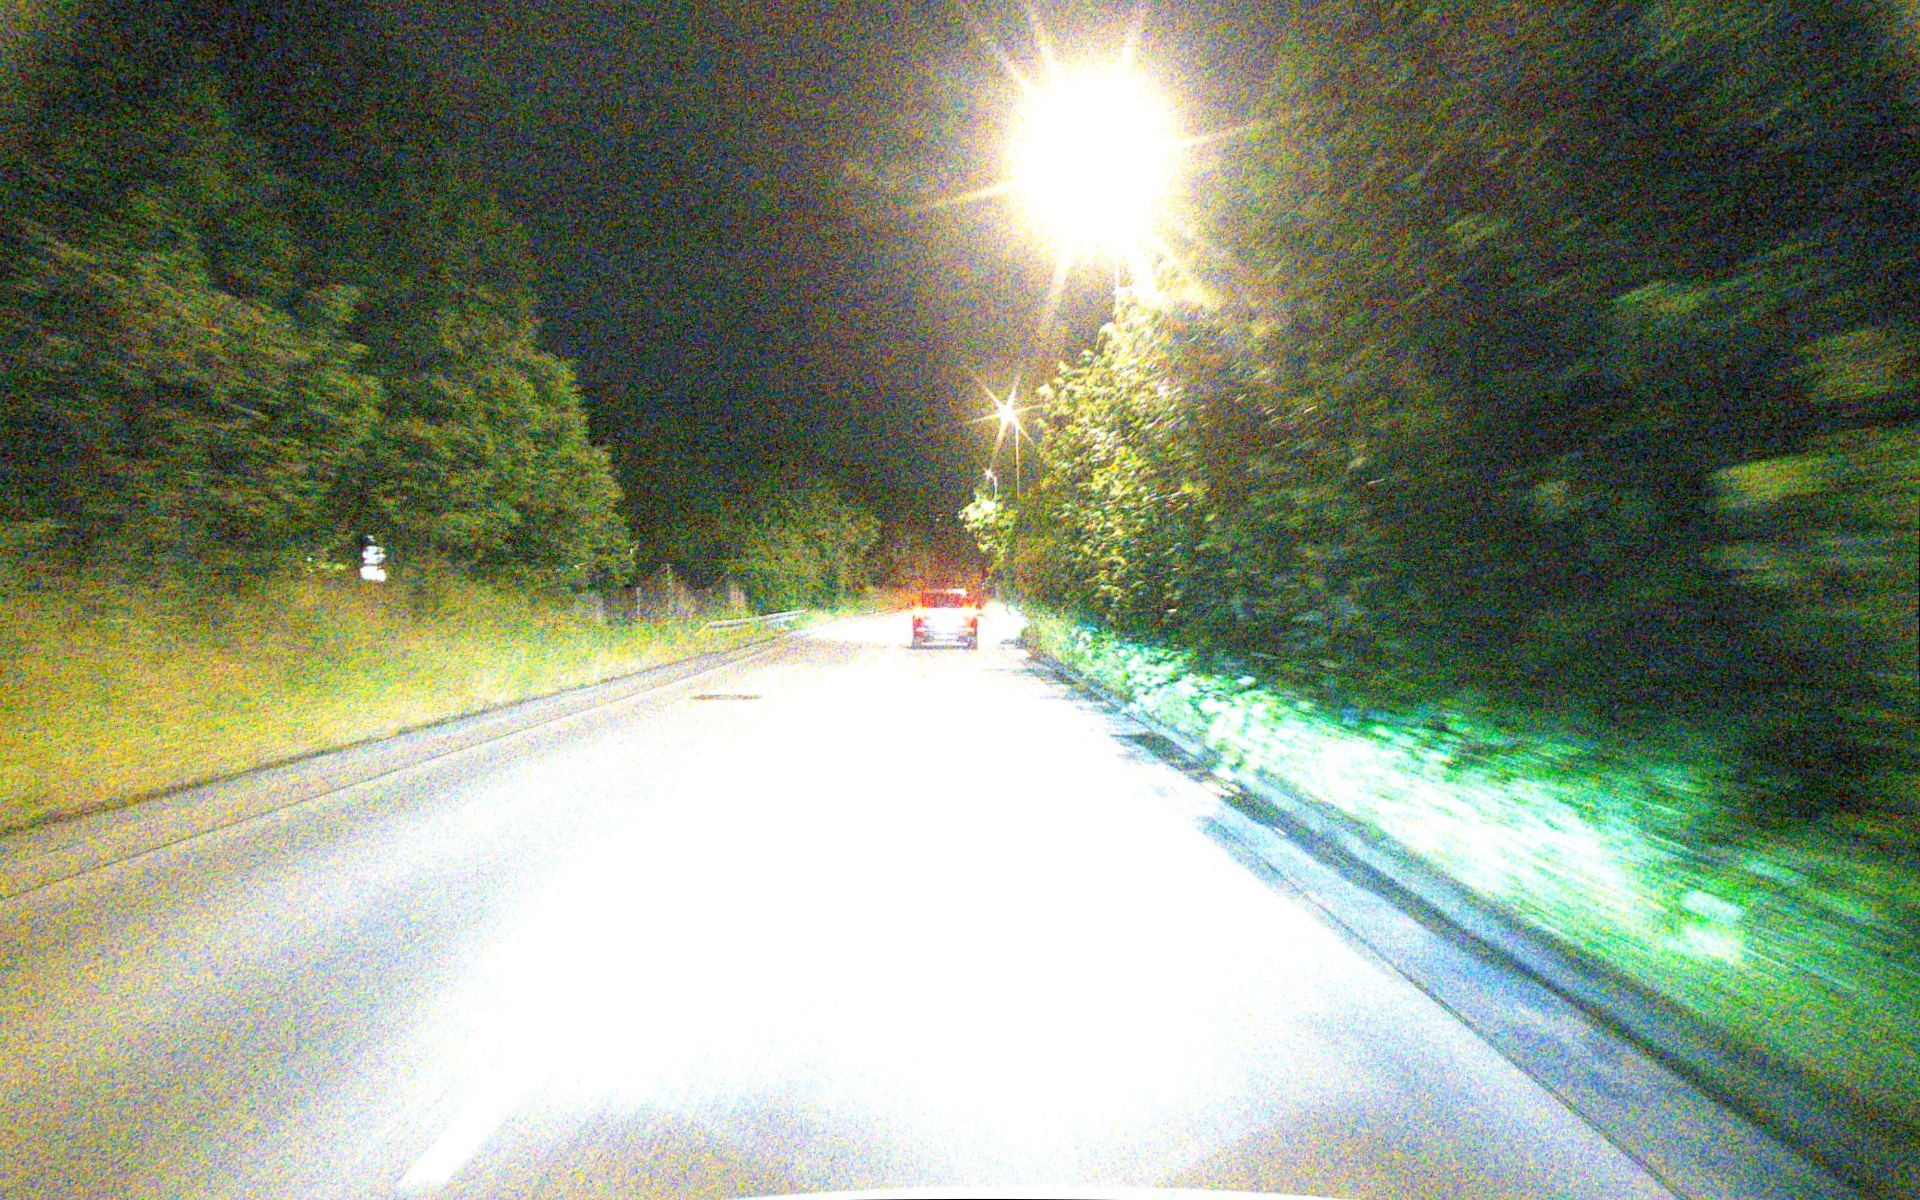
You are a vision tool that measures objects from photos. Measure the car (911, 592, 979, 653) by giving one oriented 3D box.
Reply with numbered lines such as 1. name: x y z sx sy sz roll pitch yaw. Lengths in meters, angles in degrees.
1. car: -0.430 0.582 45.290 1.778 1.601 3.942 0 0 -1
